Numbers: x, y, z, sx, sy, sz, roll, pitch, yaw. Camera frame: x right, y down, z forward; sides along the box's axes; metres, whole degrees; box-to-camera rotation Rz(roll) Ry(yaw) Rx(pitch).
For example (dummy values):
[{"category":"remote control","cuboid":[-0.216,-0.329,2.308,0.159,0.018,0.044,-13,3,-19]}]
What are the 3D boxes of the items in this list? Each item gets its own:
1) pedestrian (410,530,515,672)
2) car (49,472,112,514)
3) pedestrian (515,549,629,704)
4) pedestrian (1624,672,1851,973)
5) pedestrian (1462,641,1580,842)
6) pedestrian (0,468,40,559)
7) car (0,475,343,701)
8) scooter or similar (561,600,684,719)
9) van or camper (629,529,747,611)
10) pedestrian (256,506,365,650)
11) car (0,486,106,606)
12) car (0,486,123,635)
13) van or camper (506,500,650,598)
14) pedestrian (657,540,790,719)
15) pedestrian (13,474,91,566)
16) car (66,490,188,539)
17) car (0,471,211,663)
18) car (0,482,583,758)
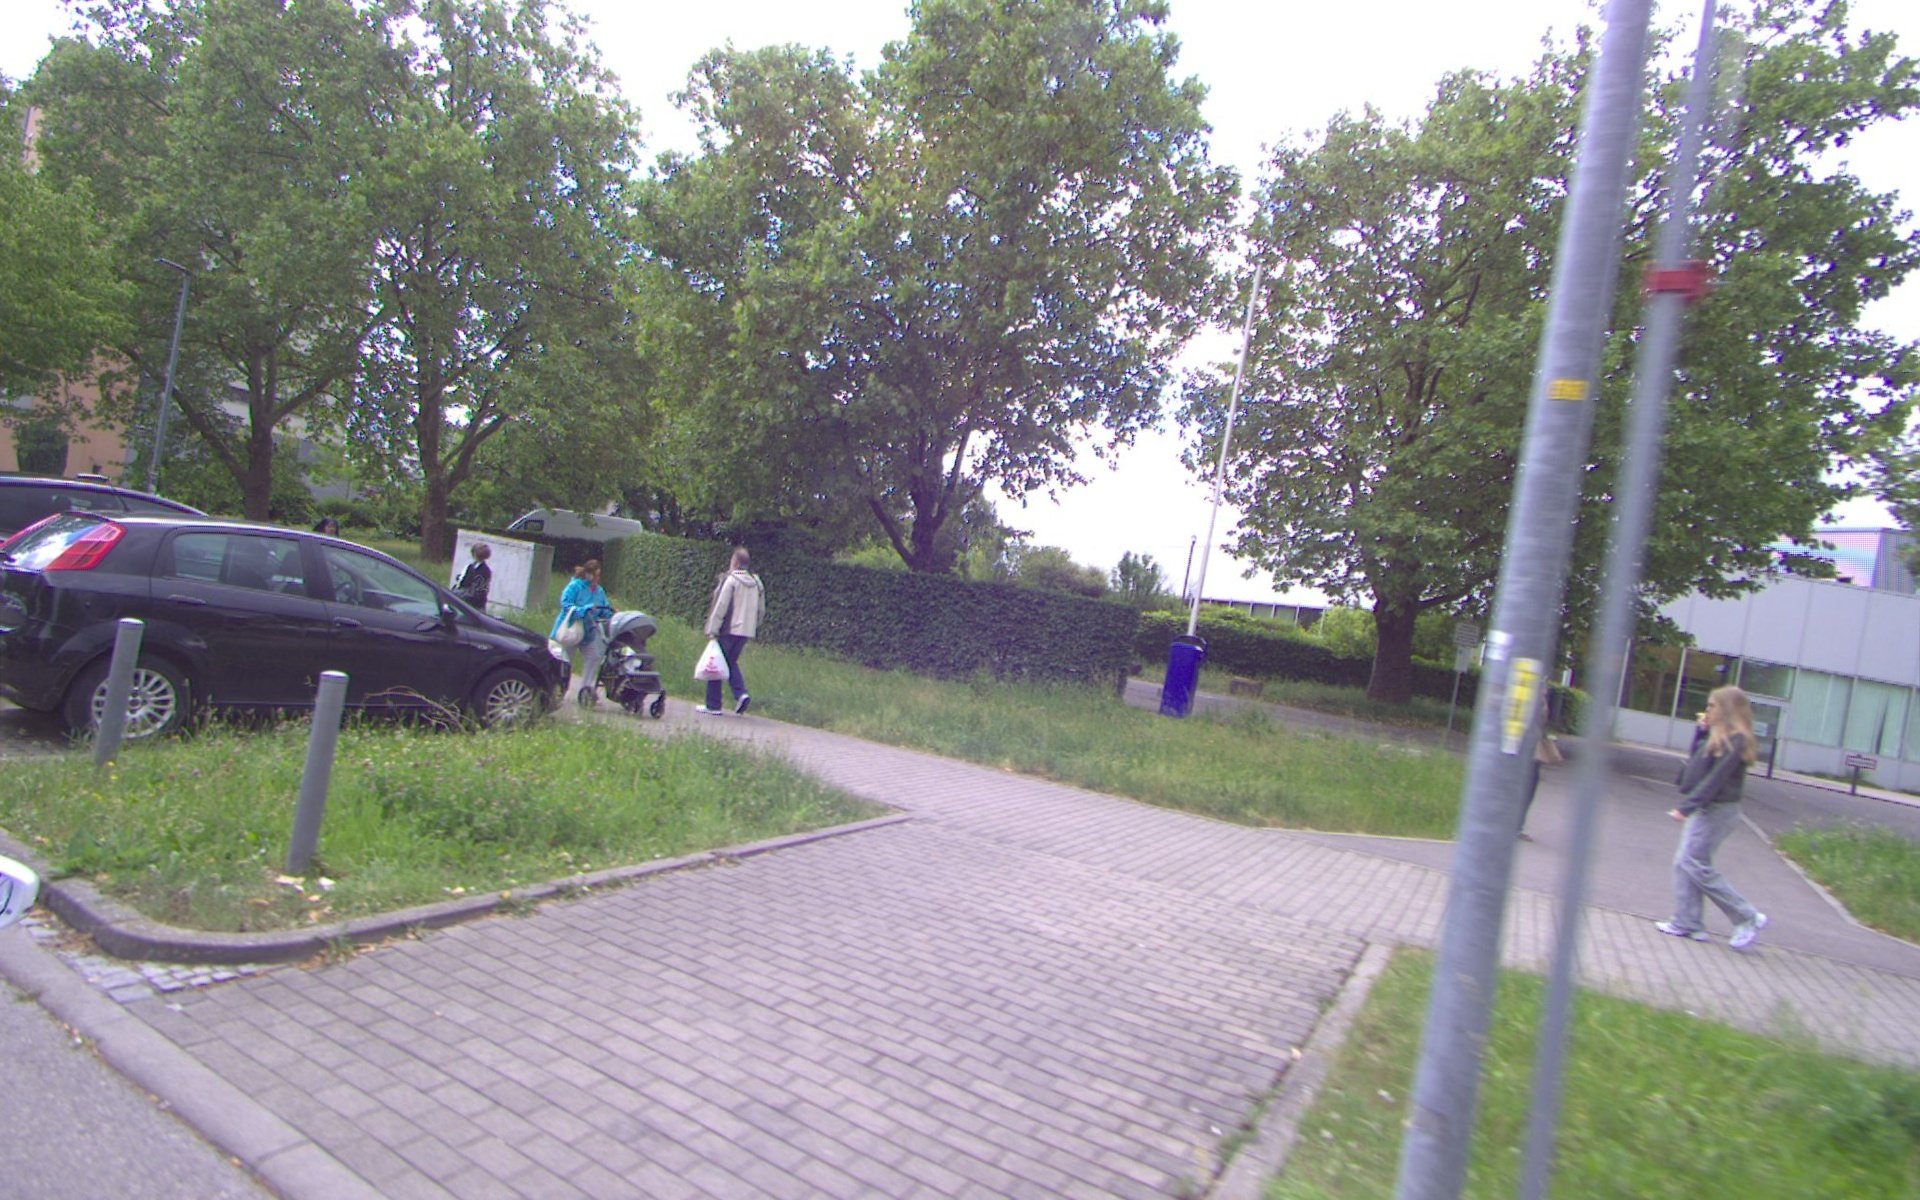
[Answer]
[{"category":"pedestrian","cuboid":[-6.853,0.021,13.874,0.863,1.813,0.741,8,-1,31]},{"category":"car","cuboid":[-43.208,-5.272,49.394,3.720,1.680,1.567,7,1,38]},{"category":"pedestrian","cuboid":[-4.030,0.284,10.462,0.723,1.485,0.620,8,-1,31]},{"category":"pedestrian","cuboid":[4.904,1.353,6.422,0.917,1.640,0.688,8,-1,33]},{"category":"pedestrian","cuboid":[5.284,1.309,9.470,0.695,1.731,0.654,8,-1,37]},{"category":"pedestrian","cuboid":[-18.775,-1.717,19.791,0.590,1.676,0.690,8,-1,30]},{"category":"car","cuboid":[-7.271,-0.134,7.920,1.567,1.593,3.676,7,-1,33]},{"category":"scooter or similar","cuboid":[-3.370,0.598,10.046,0.928,1.035,0.581,8,-1,32]},{"category":"van or camper","cuboid":[-11.824,-1.270,43.713,4.423,2.830,2.104,9,-1,-23]},{"category":"pedestrian","cuboid":[-8.872,-0.290,13.749,0.863,1.813,0.741,8,-1,31]},{"category":"car","cuboid":[-14.028,-0.928,12.617,1.917,1.510,4.587,7,-1,26]},{"category":"car","cuboid":[-11.776,-0.651,10.706,1.855,1.536,3.989,6,-3,37]},{"category":"van or camper","cuboid":[-14.166,-1.836,37.368,4.434,2.830,2.099,9,-1,-30]},{"category":"pedestrian","cuboid":[-2.603,0.335,11.106,0.863,1.813,0.832,8,-1,31]},{"category":"pedestrian","cuboid":[-18.425,-1.614,20.425,0.583,1.676,0.871,8,-1,29]},{"category":"car","cuboid":[-39.151,-3.987,47.354,1.693,1.638,4.002,7,0,30]},{"category":"car","cuboid":[-9.559,-0.442,9.324,1.821,1.666,3.676,7,-1,33]},{"category":"car","cuboid":[-4.977,0.205,7.527,1.618,1.516,3.676,7,-1,33]}]
